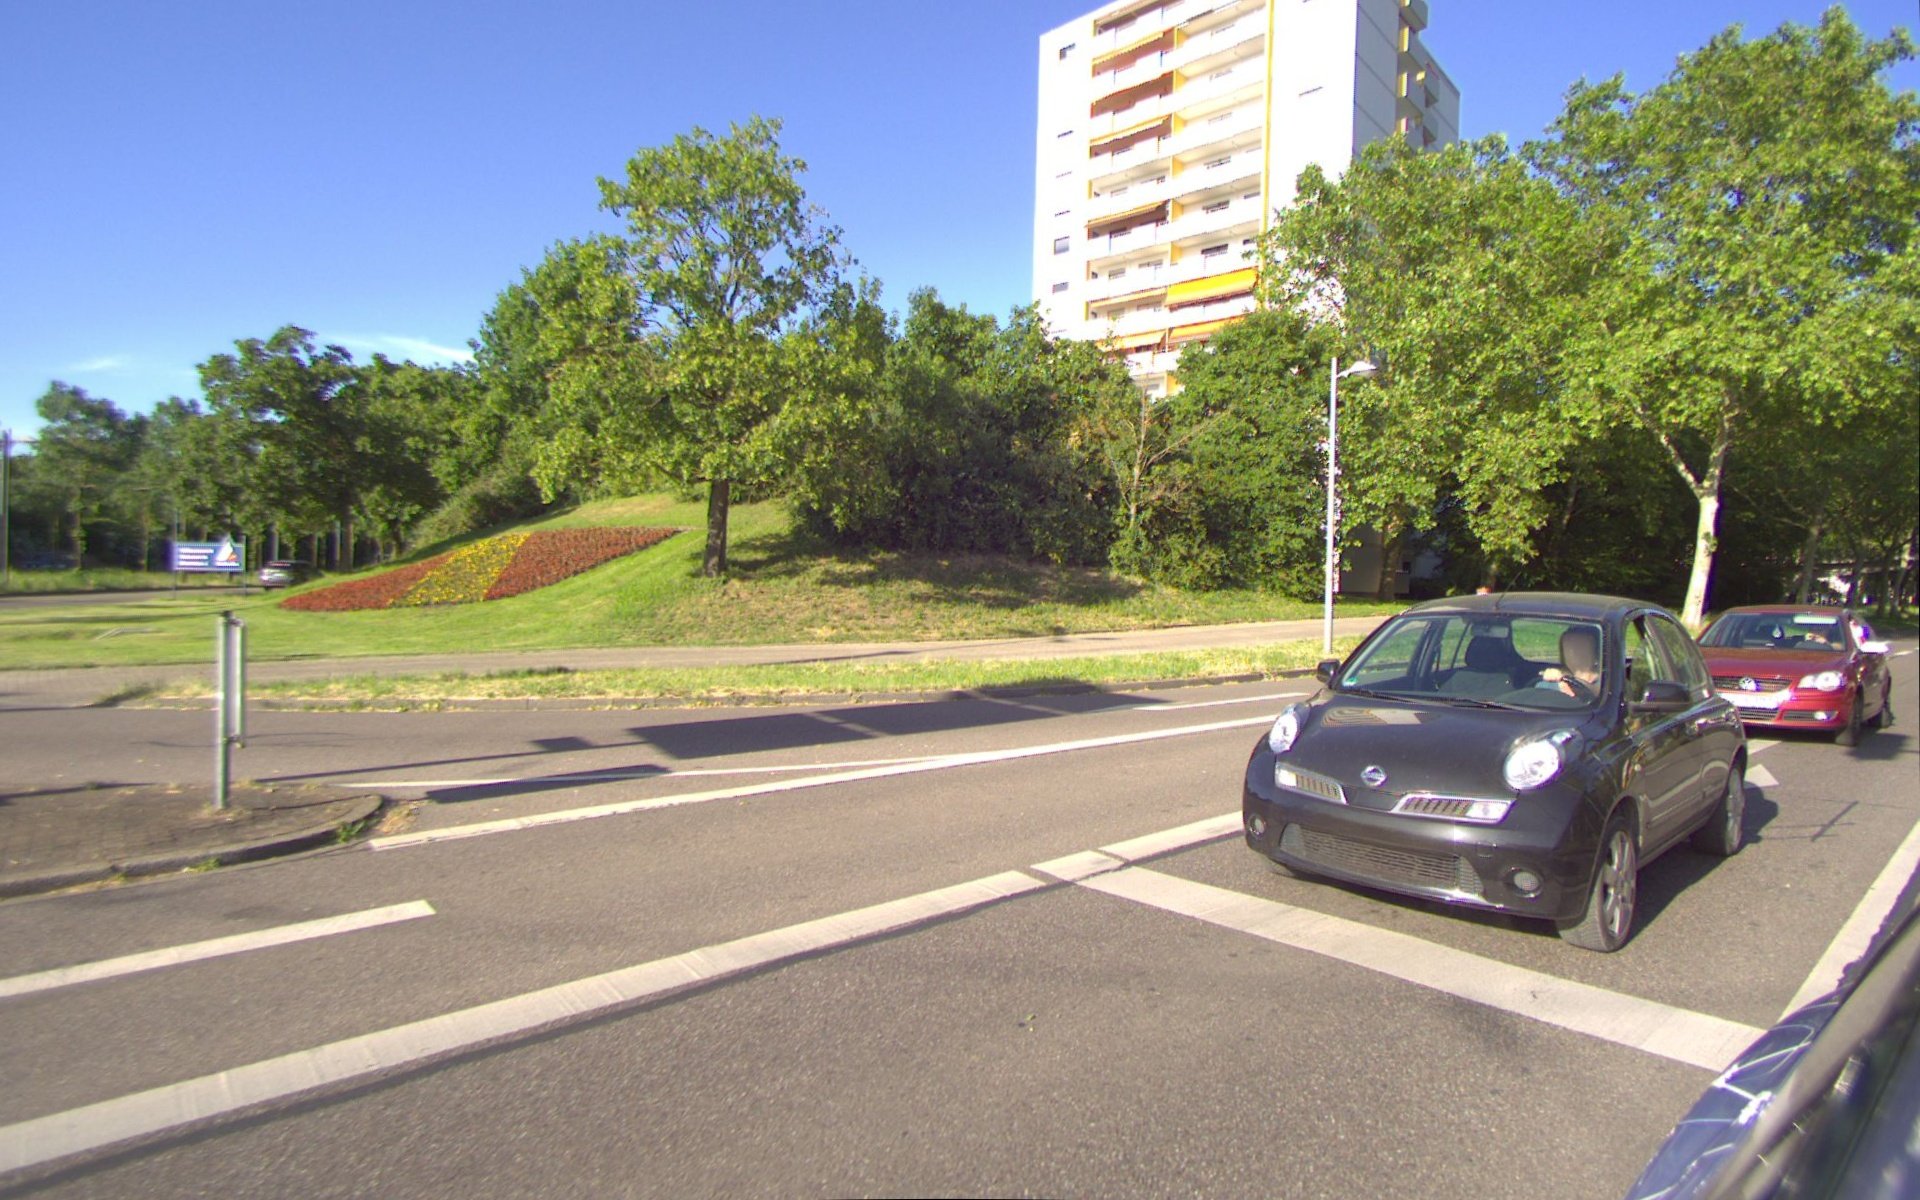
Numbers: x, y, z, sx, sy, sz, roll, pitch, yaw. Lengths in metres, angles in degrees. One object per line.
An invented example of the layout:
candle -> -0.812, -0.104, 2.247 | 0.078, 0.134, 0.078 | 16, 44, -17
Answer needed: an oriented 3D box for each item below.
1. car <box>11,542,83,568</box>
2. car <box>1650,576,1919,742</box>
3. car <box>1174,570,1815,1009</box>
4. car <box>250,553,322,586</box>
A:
car -> -68.089, -3.336, 75.539 | 1.958, 1.754, 4.829 | 1, 1, -14
car -> 9.860, 0.562, 11.894 | 4.643, 1.578, 1.771 | 0, 1, -41
car -> 3.268, 0.639, 5.656 | 4.543, 1.501, 1.737 | 0, 1, -43
car -> -36.677, -1.653, 55.175 | 1.958, 1.725, 4.704 | 0, 1, -17
